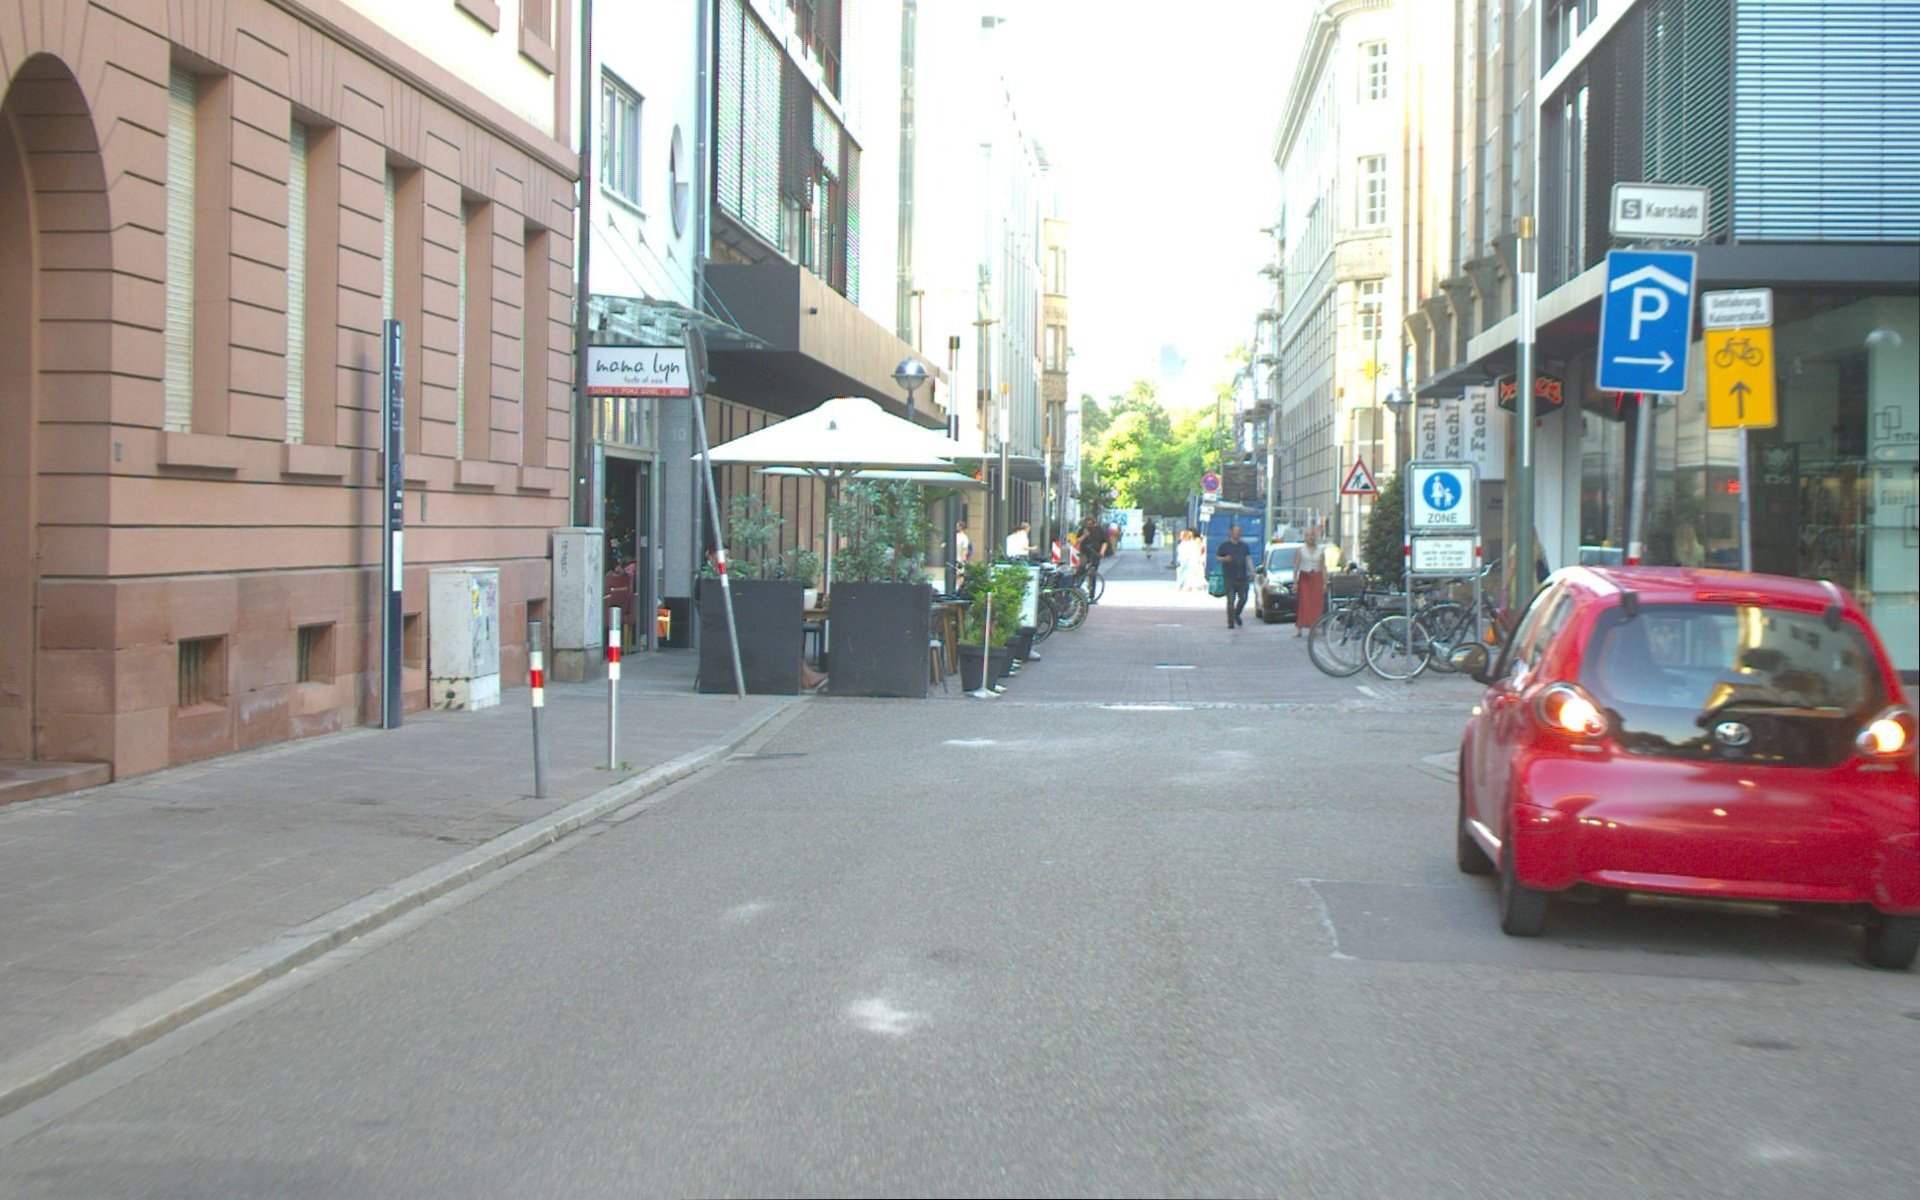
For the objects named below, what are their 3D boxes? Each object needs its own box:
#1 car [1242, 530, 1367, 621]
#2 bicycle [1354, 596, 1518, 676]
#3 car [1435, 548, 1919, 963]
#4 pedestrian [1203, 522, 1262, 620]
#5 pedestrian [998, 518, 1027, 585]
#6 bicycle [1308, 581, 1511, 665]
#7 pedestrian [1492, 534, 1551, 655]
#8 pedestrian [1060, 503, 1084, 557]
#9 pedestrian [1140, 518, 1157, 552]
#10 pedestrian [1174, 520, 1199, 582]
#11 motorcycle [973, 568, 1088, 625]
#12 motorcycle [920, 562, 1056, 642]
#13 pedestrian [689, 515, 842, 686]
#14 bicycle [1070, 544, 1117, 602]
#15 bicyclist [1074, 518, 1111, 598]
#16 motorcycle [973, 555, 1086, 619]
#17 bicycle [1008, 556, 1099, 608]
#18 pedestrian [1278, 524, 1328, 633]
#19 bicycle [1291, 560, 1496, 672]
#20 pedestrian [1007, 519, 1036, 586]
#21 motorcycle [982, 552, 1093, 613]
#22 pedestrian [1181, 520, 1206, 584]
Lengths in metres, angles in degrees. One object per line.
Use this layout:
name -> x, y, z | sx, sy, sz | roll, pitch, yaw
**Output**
car -> 6.332, -0.476, 63.572 | 1.993, 1.605, 4.000 | 1, 1, 2
bicycle -> 4.794, 0.357, 34.655 | 1.565, 0.766, 0.557 | 1, 1, 0
car -> 2.997, 0.551, 14.465 | 1.650, 1.422, 3.535 | 4, 1, 4
pedestrian -> 4.817, -0.526, 60.822 | 0.865, 1.707, 0.852 | 1, 1, -5
pedestrian -> 1.285, -1.181, 83.901 | 0.603, 1.617, 0.529 | 1, 1, -7
bicycle -> 5.082, 0.256, 38.938 | 2.200, 0.902, 0.649 | 1, 1, 0
pedestrian -> 6.971, -0.068, 42.711 | 0.657, 1.482, 0.493 | 1, 1, 5
pedestrian -> 3.442, -2.148, 105.273 | 0.678, 1.617, 0.625 | 1, 1, 5
pedestrian -> 9.147, -3.165, 166.926 | 0.805, 1.667, 0.888 | 1, 1, 5
pedestrian -> 5.886, -1.277, 89.381 | 0.604, 1.617, 0.625 | 1, 1, 5
motorcycle -> 1.111, -0.056, 54.455 | 1.801, 0.872, 0.560 | 1, 1, 0
motorcycle -> 0.370, 0.030, 46.345 | 1.801, 1.037, 0.494 | 1, 1, 0
pedestrian -> -1.721, -0.001, 30.539 | 1.290, 1.482, 0.661 | 1, 1, 1
bicycle -> 2.765, -0.565, 71.484 | 0.636, 1.153, 2.502 | 1, 1, -5
bicyclist -> 2.751, -0.876, 71.581 | 0.636, 1.635, 0.772 | 1, 1, -6
motorcycle -> 1.120, -0.212, 55.526 | 1.801, 0.986, 0.560 | 1, 1, 0
bicycle -> 1.651, -0.313, 60.622 | 1.518, 0.893, 0.485 | 0, 1, -24
pedestrian -> 5.151, -0.330, 51.681 | 0.633, 1.614, 0.466 | 1, 1, -6
bicycle -> 4.556, 0.160, 36.213 | 2.052, 1.130, 0.649 | 1, 1, 0
pedestrian -> 1.487, -1.145, 83.244 | 0.603, 1.617, 0.529 | 1, 1, -7
motorcycle -> 1.284, -0.293, 57.163 | 1.801, 0.986, 0.560 | 1, 1, 0
pedestrian -> 6.030, -1.243, 88.768 | 0.604, 1.617, 0.529 | 1, 1, 5
